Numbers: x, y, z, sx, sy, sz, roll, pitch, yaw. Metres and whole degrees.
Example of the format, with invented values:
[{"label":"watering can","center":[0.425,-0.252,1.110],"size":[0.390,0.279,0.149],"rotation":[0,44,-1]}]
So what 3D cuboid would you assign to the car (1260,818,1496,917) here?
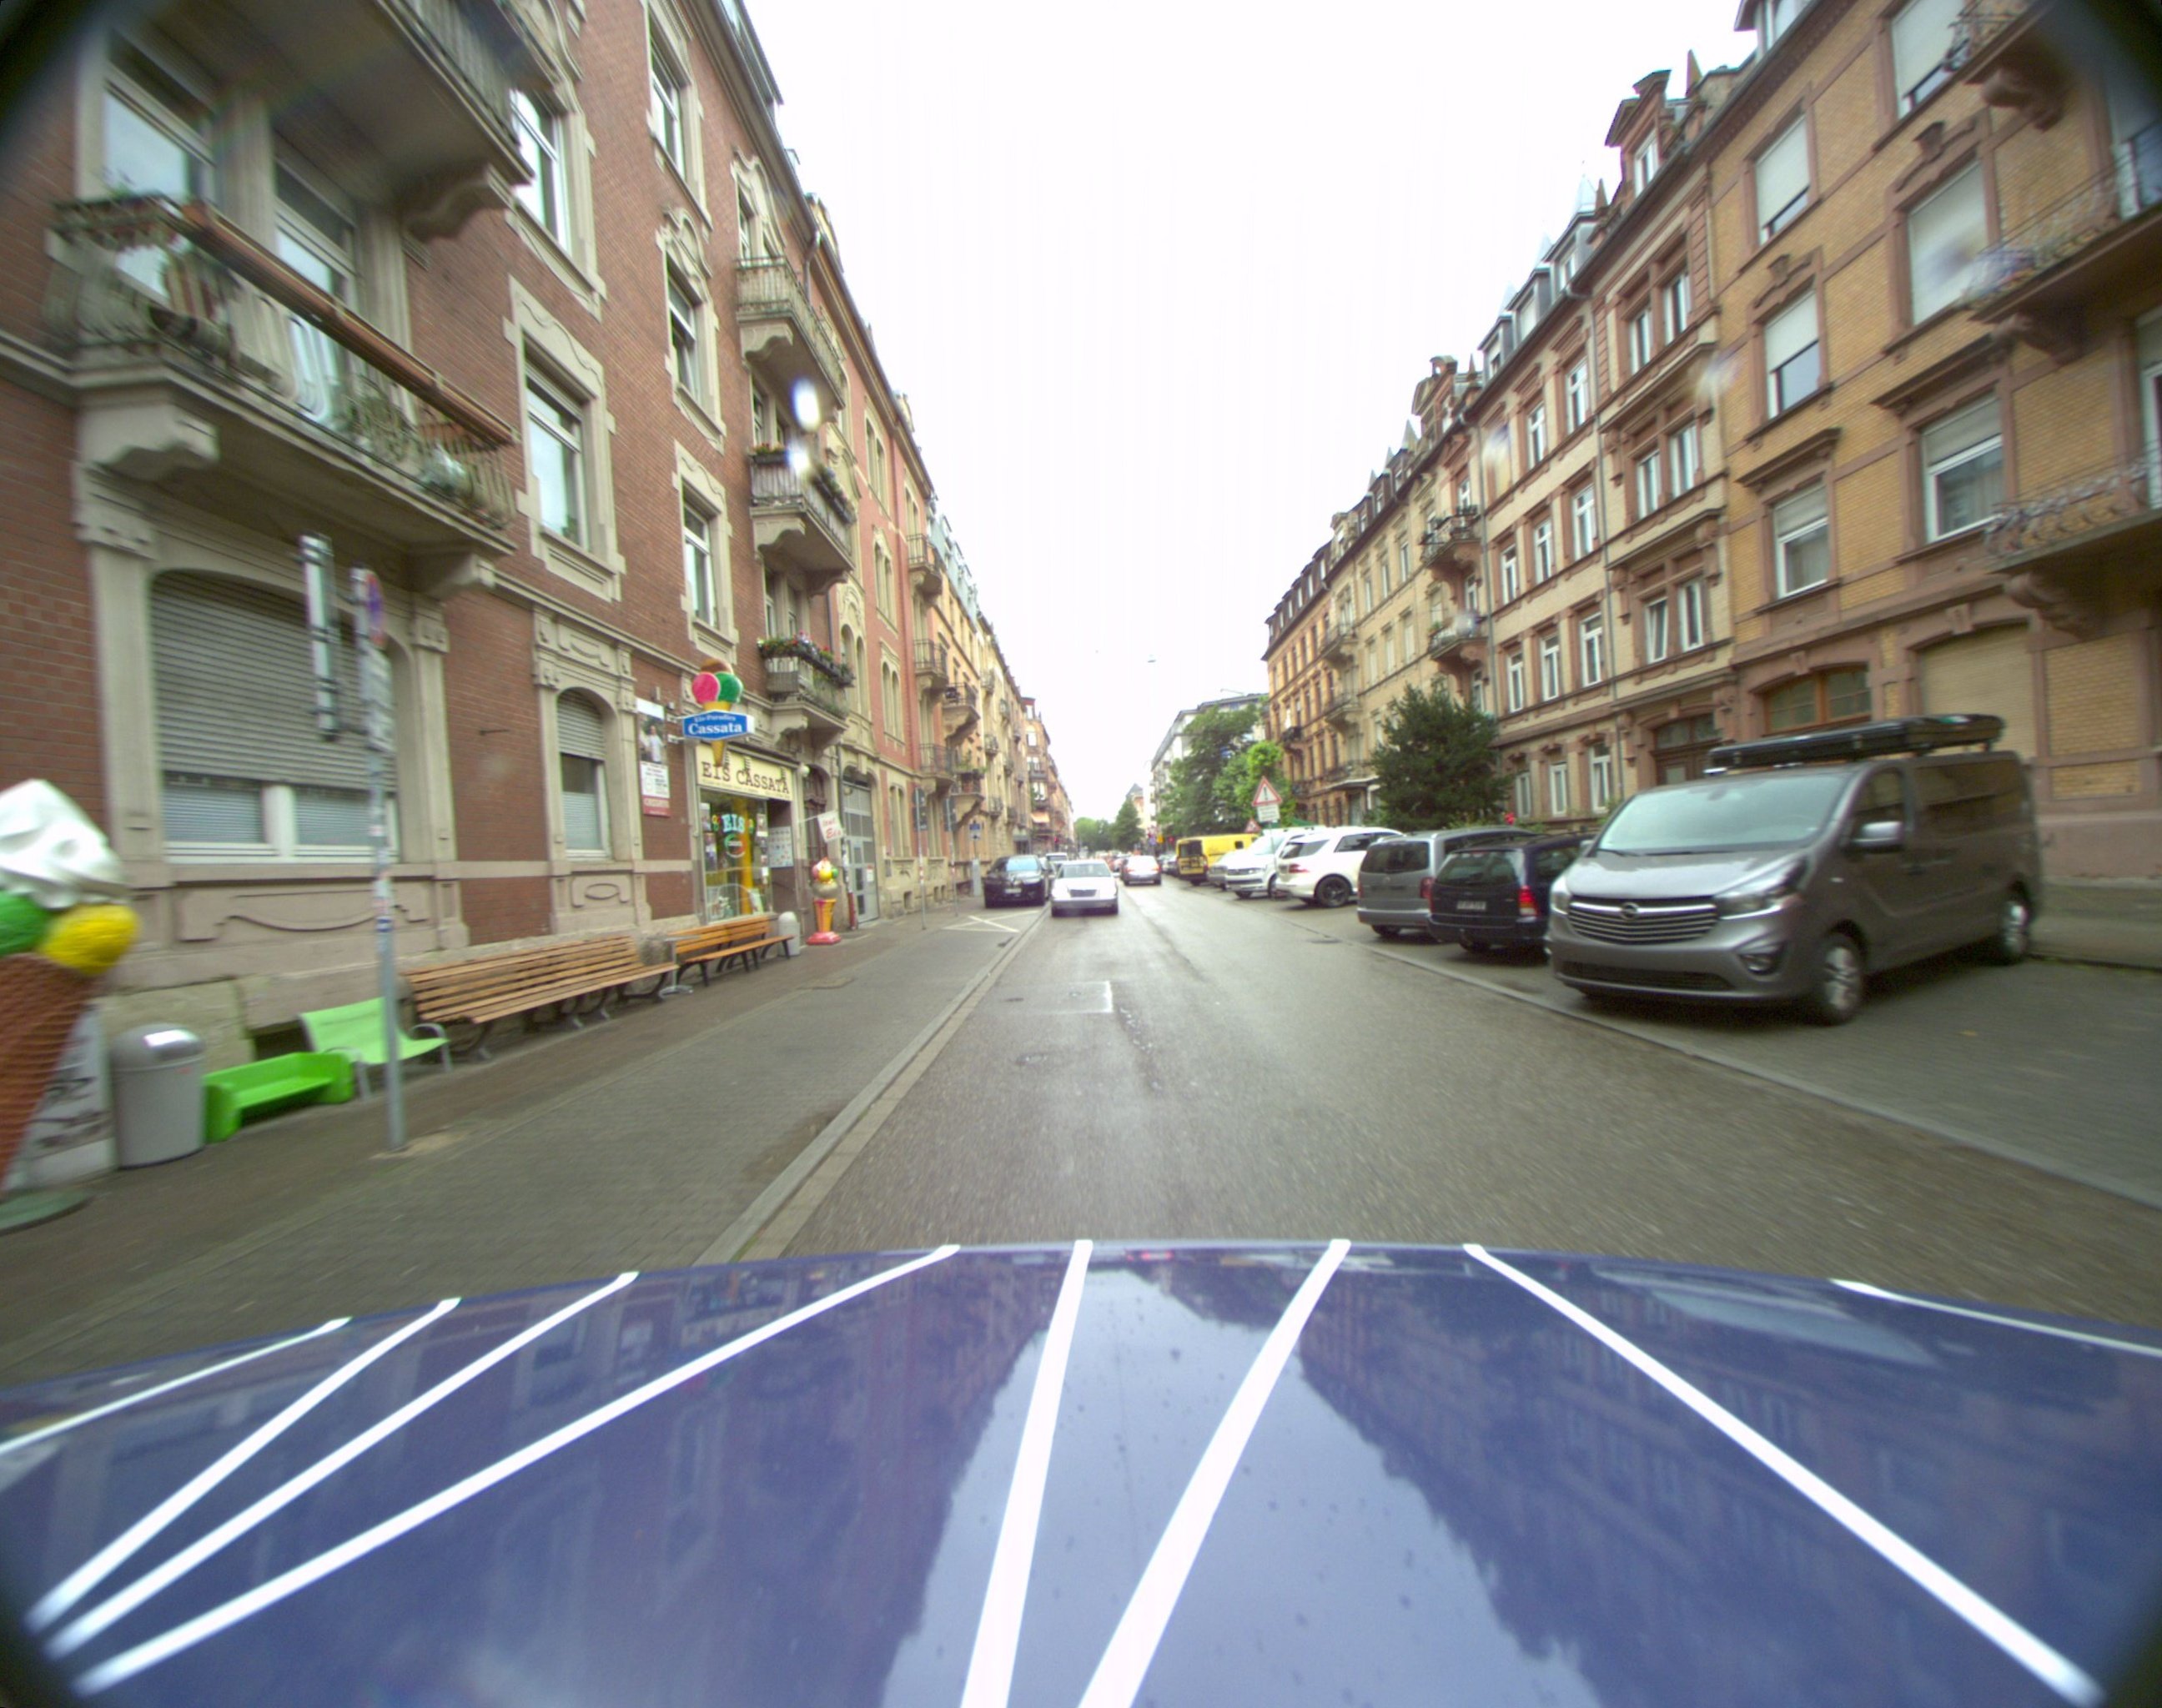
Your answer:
[{"label":"car","center":[7.014,0.304,18.455],"size":[4.590,1.775,2.545],"rotation":[-6,0,0]}]

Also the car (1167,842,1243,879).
[{"label":"car","center":[7.182,0.362,43.966],"size":[4.143,1.653,1.797],"rotation":[-7,3,-35]}]

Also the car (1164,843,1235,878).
[{"label":"car","center":[7.361,0.392,47.125],"size":[4.143,1.652,1.797],"rotation":[-7,2,-35]}]

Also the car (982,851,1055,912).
[{"label":"car","center":[-2.039,0.848,26.071],"size":[1.998,1.769,4.826],"rotation":[-3,0,0]}]

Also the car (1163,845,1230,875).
[{"label":"car","center":[7.618,0.387,50.143],"size":[4.143,1.485,1.797],"rotation":[-7,3,-34]}]

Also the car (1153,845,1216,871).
[{"label":"car","center":[7.864,0.277,57.589],"size":[4.464,1.555,1.995],"rotation":[-6,3,-35]}]

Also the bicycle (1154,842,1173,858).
[{"label":"bicycle","center":[6.431,-0.335,59.062],"size":[0.588,1.137,1.679],"rotation":[-5,1,-27]}]

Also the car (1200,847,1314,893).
[{"label":"car","center":[6.787,0.585,29.286],"size":[4.005,1.427,1.781],"rotation":[-4,1,-27]}]

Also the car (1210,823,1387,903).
[{"label":"car","center":[6.868,0.230,23.876],"size":[5.258,2.066,1.867],"rotation":[-4,1,-23]}]

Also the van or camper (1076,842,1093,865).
[{"label":"van or camper","center":[0.542,0.005,118.455],"size":[2.411,3.308,7.073],"rotation":[-4,0,0]}]

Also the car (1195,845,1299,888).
[{"label":"car","center":[7.032,0.528,32.182],"size":[3.924,1.486,1.959],"rotation":[-4,1,-30]}]

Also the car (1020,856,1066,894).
[{"label":"car","center":[-1.769,0.968,36.899],"size":[1.791,1.458,4.482],"rotation":[-3,2,2]}]

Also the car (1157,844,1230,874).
[{"label":"car","center":[7.817,0.326,52.770],"size":[4.731,1.554,1.996],"rotation":[-6,0,-33]}]

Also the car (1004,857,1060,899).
[{"label":"car","center":[-1.967,0.945,31.674],"size":[1.876,1.552,4.345],"rotation":[-2,0,2]}]

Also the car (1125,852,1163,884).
[{"label":"car","center":[3.233,0.718,39.717],"size":[1.799,1.485,4.584],"rotation":[-3,-1,3]}]

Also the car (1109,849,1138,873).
[{"label":"car","center":[3.153,0.515,57.488],"size":[1.863,1.650,5.008],"rotation":[-3,0,0]}]

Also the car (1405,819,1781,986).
[{"label":"car","center":[6.591,0.514,9.786],"size":[4.360,1.496,1.752],"rotation":[-5,0,-21]}]

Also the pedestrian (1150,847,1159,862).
[{"label":"pedestrian","center":[8.830,0.047,91.398],"size":[0.862,1.837,0.770],"rotation":[-4,0,9]}]

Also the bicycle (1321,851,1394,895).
[{"label":"bicycle","center":[7.886,0.550,21.780],"size":[0.545,1.168,2.040],"rotation":[-4,0,-29]}]

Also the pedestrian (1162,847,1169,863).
[{"label":"pedestrian","center":[10.045,0.108,90.161],"size":[0.604,1.837,0.770],"rotation":[-4,0,10]}]

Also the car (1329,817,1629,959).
[{"label":"car","center":[6.432,0.460,12.240],"size":[4.449,1.621,1.841],"rotation":[-6,0,-25]}]

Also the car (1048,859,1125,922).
[{"label":"car","center":[0.245,0.932,21.508],"size":[1.859,1.390,4.980],"rotation":[-4,0,2]}]

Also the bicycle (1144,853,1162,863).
[{"label":"bicycle","center":[8.635,0.457,91.320],"size":[1.895,1.028,0.661],"rotation":[-6,0,-13]}]

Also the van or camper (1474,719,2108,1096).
[{"label":"van or camper","center":[6.368,0.213,6.813],"size":[5.031,2.335,2.340],"rotation":[-4,0,-25]}]

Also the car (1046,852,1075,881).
[{"label":"car","center":[-1.507,0.866,56.478],"size":[1.999,1.927,5.229],"rotation":[-2,0,-2]}]

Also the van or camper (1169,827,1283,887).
[{"label":"van or camper","center":[6.745,0.108,35.230],"size":[4.732,2.254,2.180],"rotation":[-6,0,-31]}]
